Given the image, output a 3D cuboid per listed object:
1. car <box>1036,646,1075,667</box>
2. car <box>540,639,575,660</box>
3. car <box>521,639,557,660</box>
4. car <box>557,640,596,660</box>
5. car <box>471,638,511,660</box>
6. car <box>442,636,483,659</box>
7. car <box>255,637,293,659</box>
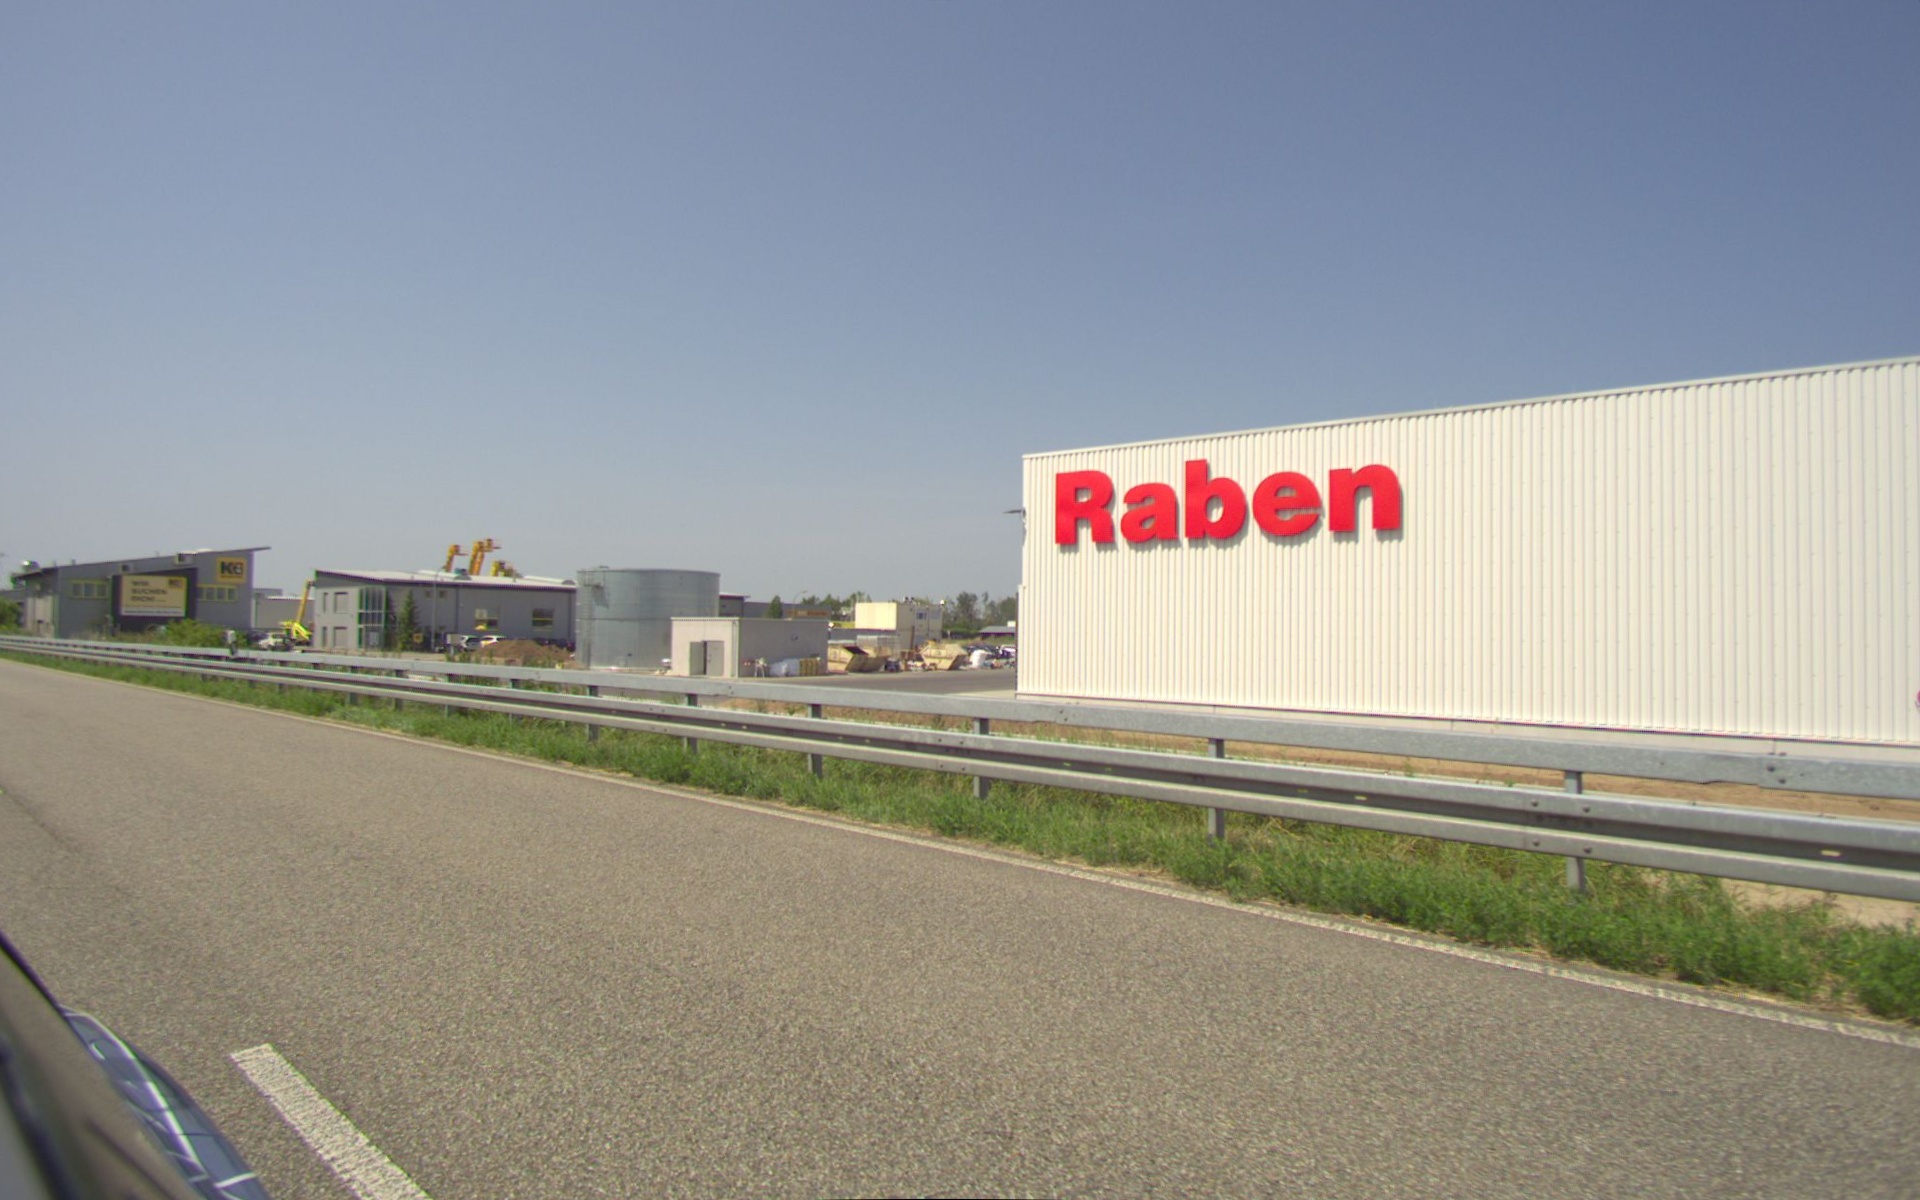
[{"bbox_3d":[9.671,5.706,102.566,3.458,2.029,1.742,-1,-4,34],"label":"car"},{"bbox_3d":[-40.705,5.027,102.263,3.526,2.029,1.810,-1,-5,42],"label":"car"},{"bbox_3d":[-41.742,4.907,100.383,3.688,2.029,1.810,-1,-5,42],"label":"car"},{"bbox_3d":[-39.417,5.137,103.961,3.997,2.029,1.973,-1,-3,40],"label":"car"},{"bbox_3d":[-44.976,4.679,96.944,3.997,2.029,1.973,-1,-2,40],"label":"car"},{"bbox_3d":[-46.646,4.451,94.779,3.997,2.029,1.973,-1,-3,40],"label":"car"},{"bbox_3d":[-56.051,3.913,82.653,3.306,1.686,1.537,-1,-3,36],"label":"car"}]
